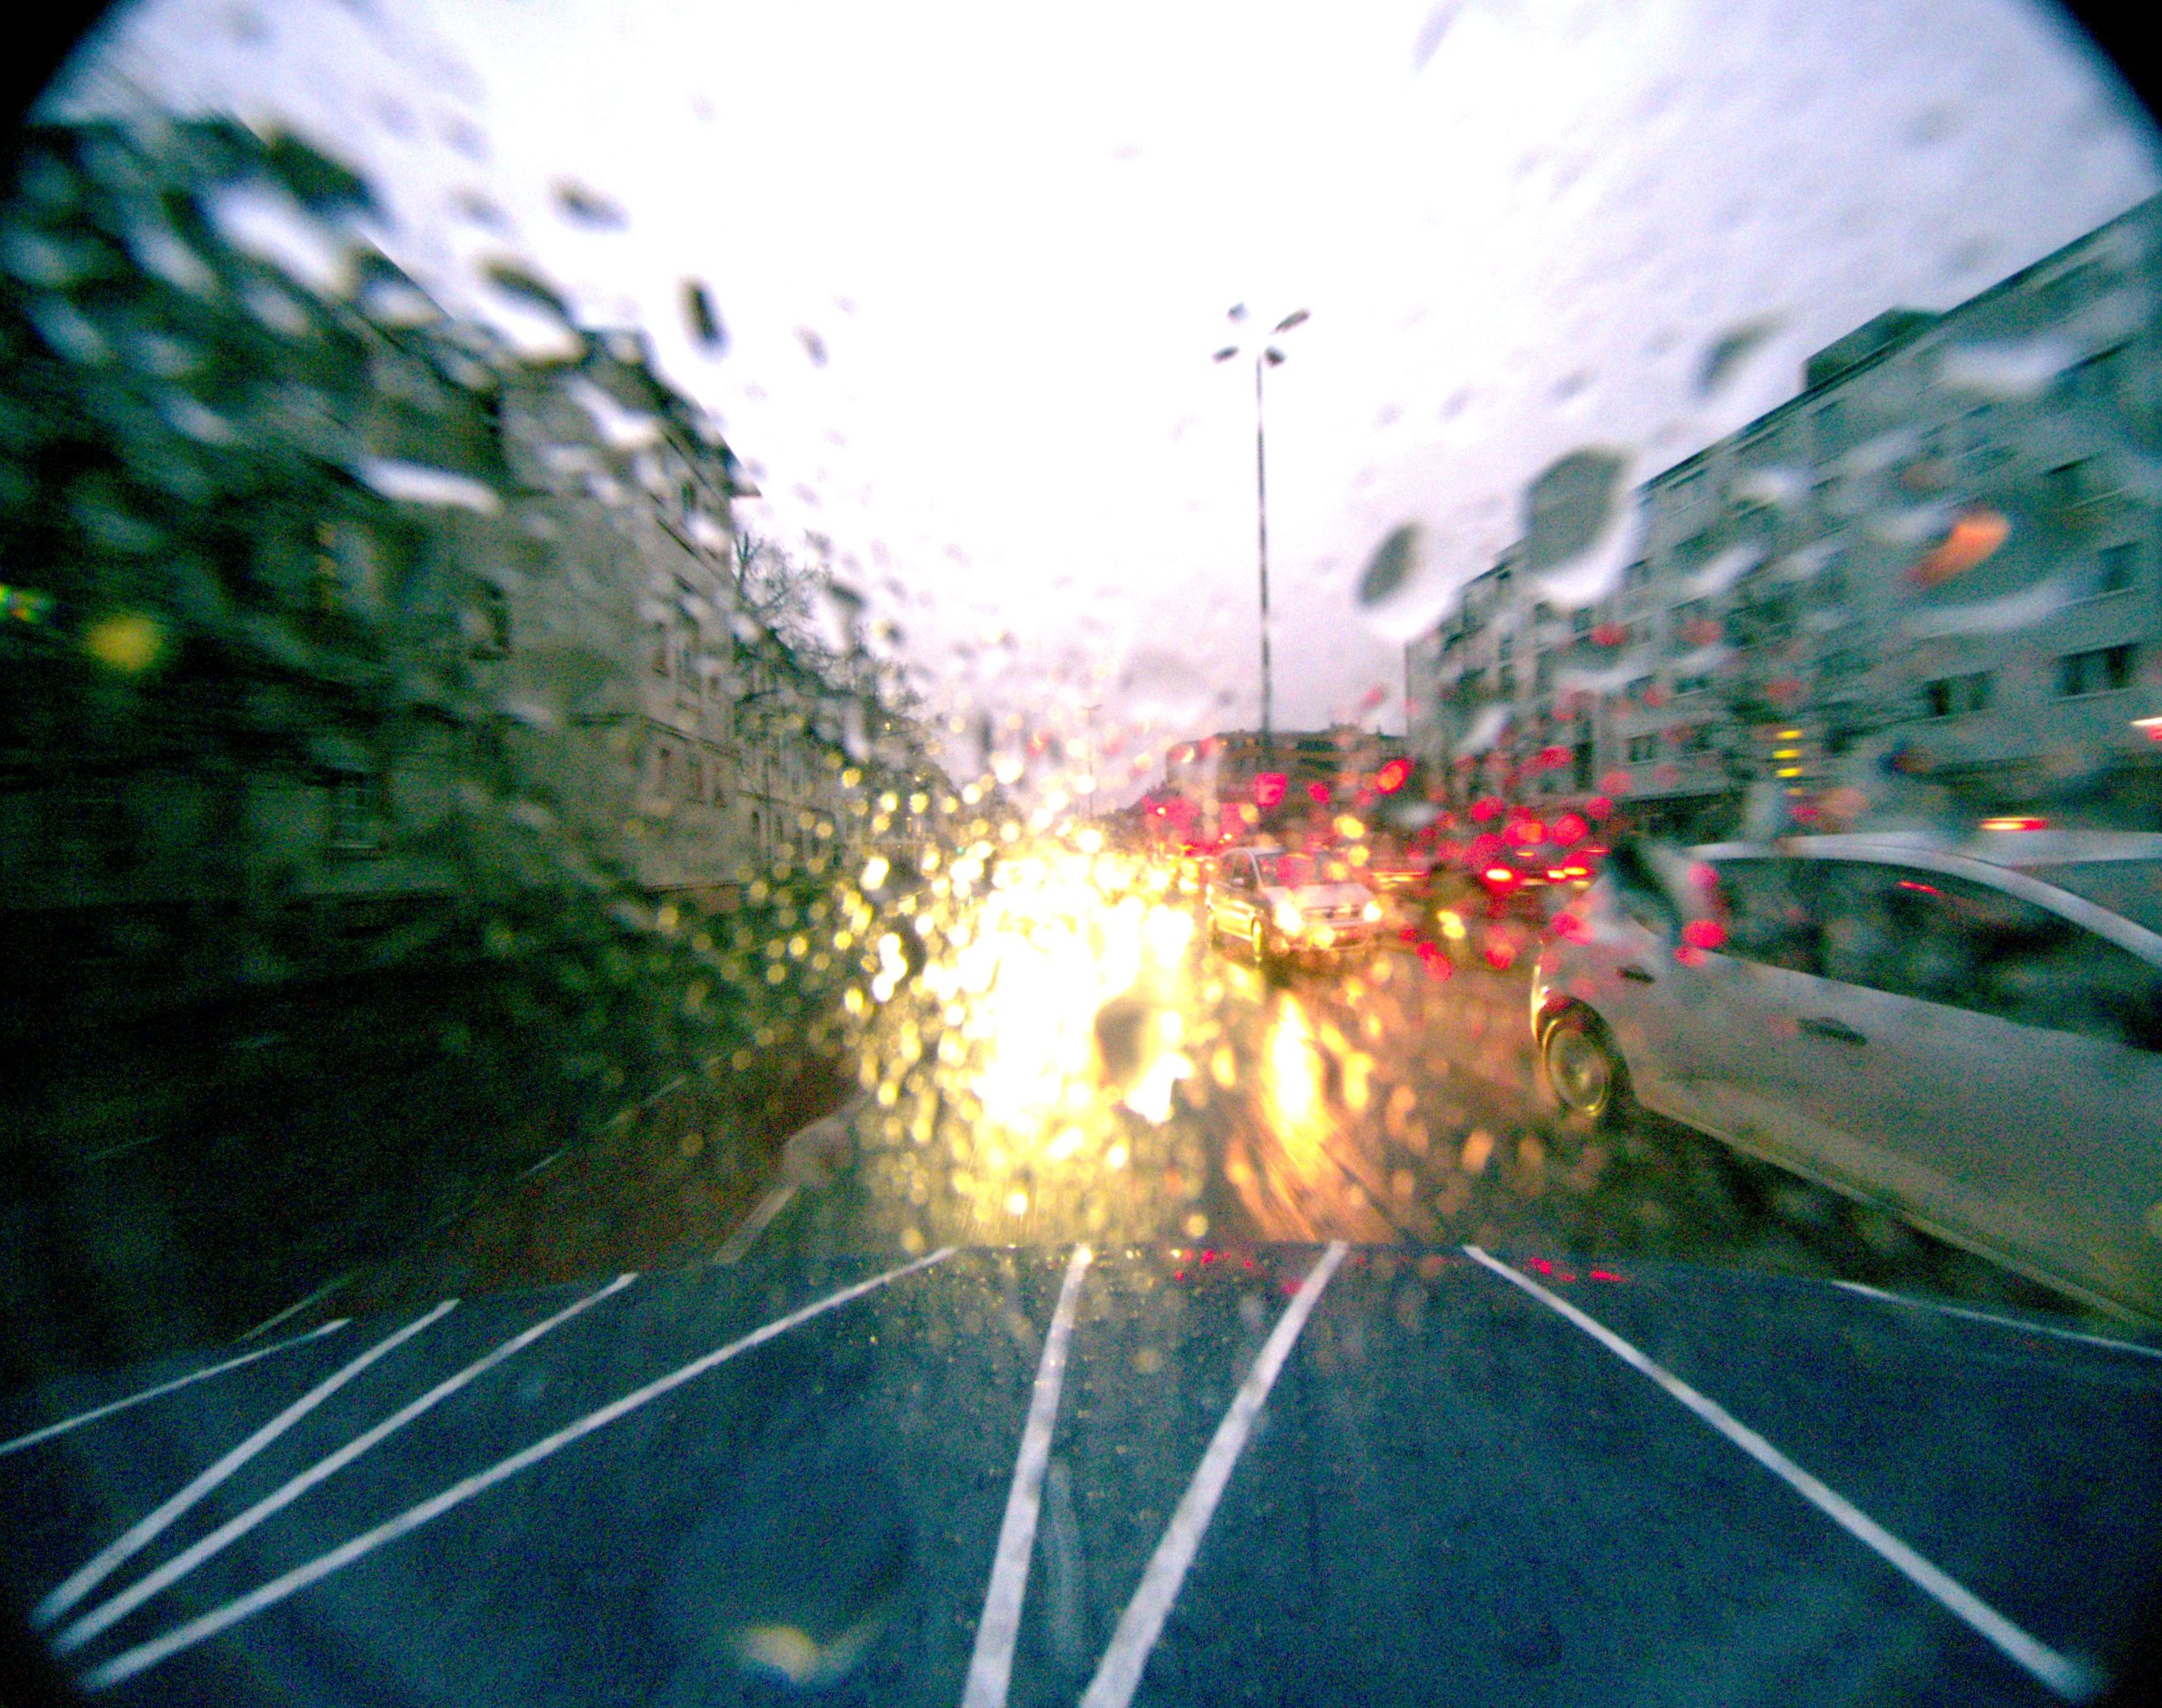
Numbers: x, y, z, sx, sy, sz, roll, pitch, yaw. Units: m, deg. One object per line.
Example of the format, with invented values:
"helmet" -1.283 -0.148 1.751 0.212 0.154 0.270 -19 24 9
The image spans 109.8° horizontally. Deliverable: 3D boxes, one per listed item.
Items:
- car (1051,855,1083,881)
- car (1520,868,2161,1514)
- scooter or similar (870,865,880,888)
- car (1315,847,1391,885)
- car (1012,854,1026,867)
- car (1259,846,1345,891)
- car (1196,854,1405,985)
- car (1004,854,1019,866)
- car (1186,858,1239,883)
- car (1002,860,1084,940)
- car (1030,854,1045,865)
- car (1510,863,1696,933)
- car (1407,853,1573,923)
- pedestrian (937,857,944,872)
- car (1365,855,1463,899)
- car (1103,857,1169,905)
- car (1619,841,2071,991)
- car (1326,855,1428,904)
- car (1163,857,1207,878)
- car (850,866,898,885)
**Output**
"car" -1.040 0.924 52.892 1.820 1.732 4.184 -1 0 -6
"car" 3.358 0.818 2.330 1.630 1.478 4.000 -1 0 -1
"scooter or similar" -11.165 1.213 41.219 0.442 1.196 1.080 -2 0 -13
"car" 11.914 0.495 33.557 1.794 1.572 3.801 -1 0 -3
"car" -9.153 0.965 112.159 1.999 1.693 3.999 -2 0 -5
"car" 9.299 0.596 32.358 1.968 1.772 4.532 -1 0 -5
"car" 2.997 0.795 11.323 1.650 1.539 4.108 -2 0 -4
"car" -9.665 0.840 105.456 1.999 1.686 3.999 -2 0 -5
"car" 7.721 0.960 45.035 1.968 1.378 4.532 -1 0 -5
"car" -1.002 0.992 18.084 1.650 1.575 3.802 -2 0 -7
"car" -6.042 0.781 105.466 1.999 1.526 3.999 -2 0 -5
"car" 12.991 1.021 19.295 1.650 1.557 4.279 -1 0 -2
"car" 9.725 0.745 18.479 1.650 1.478 4.143 -1 0 -2
"pedestrian" -15.162 1.141 81.754 0.656 1.579 0.562 -2 0 -13
"car" 12.038 0.794 27.752 1.650 1.478 3.999 -1 0 -2
"car" 1.827 0.882 26.493 1.753 1.535 3.998 -1 0 -4
"car" 10.026 0.700 10.656 1.649 1.620 4.660 -1 0 0
"car" 9.664 0.798 25.120 1.650 1.478 3.999 -1 0 -2
"car" 7.064 0.919 51.979 1.968 1.378 4.532 -1 0 -5
"car" -20.831 2.163 76.767 4.568 1.708 1.724 -2 0 -13
